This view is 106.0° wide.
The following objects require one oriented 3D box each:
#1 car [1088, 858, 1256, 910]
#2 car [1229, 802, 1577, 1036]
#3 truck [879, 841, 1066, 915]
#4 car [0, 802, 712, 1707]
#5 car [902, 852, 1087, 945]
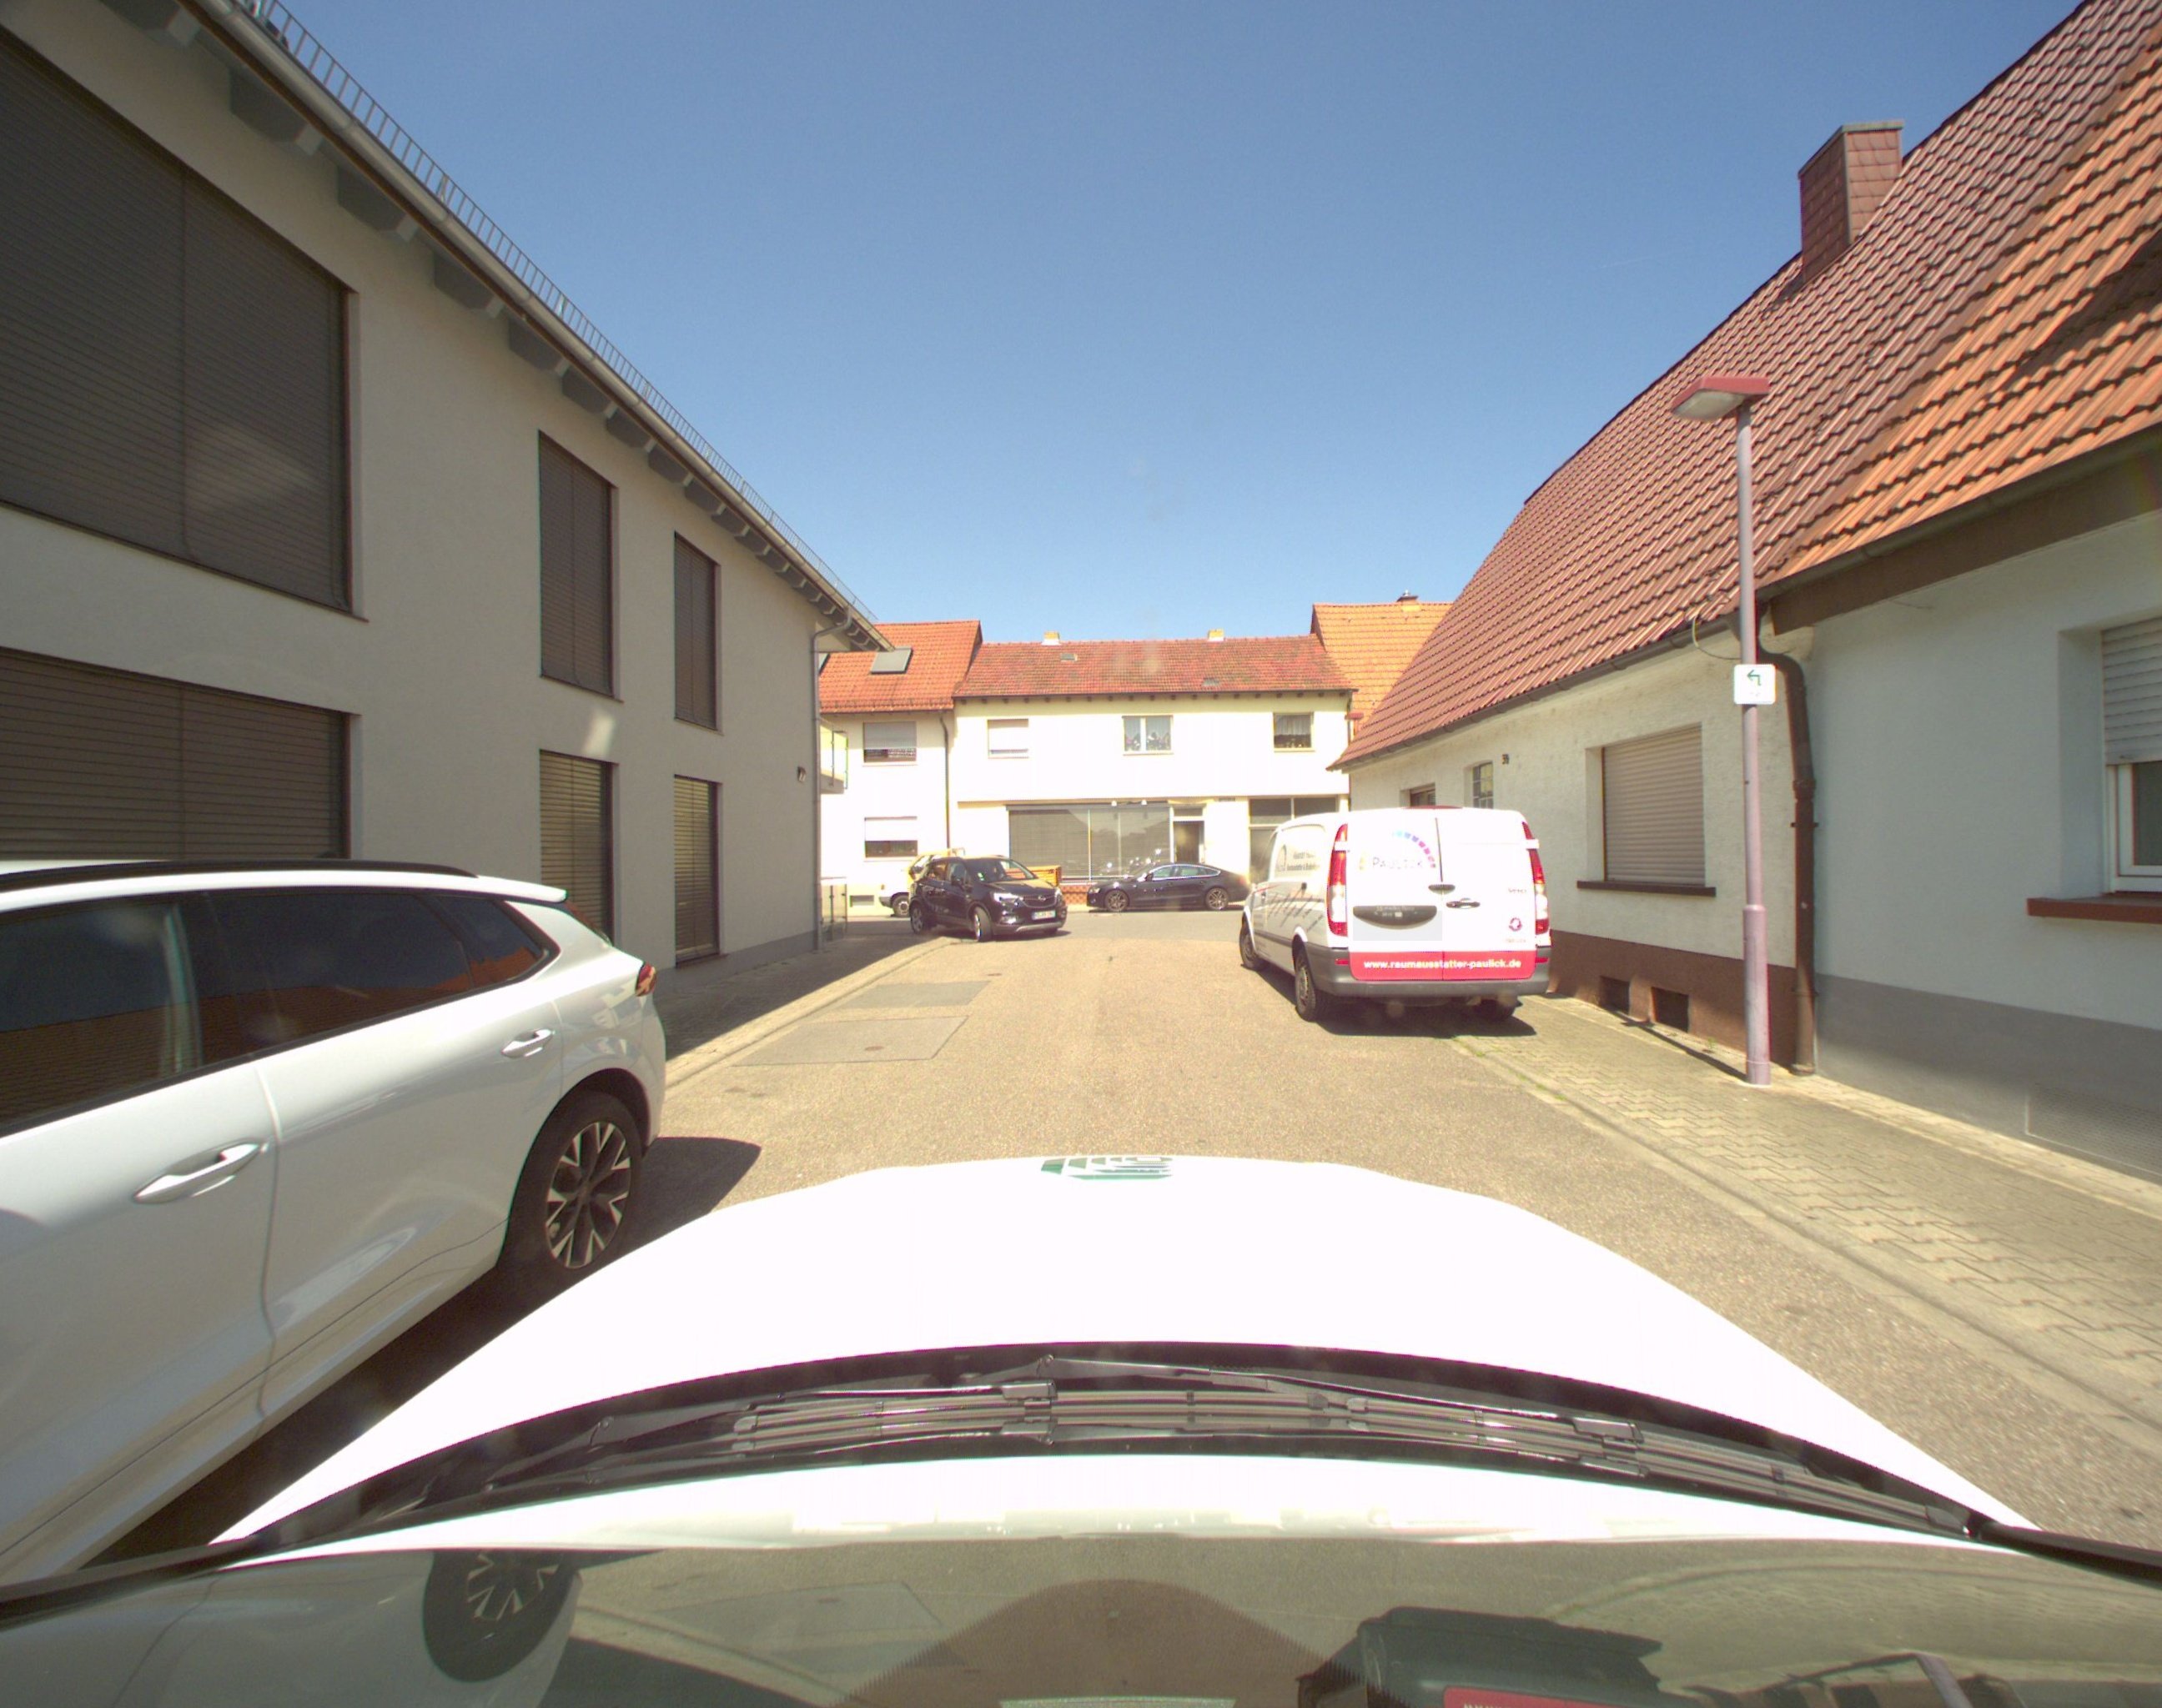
[{"bbox_3d":[2.528,0.876,23.441,4.600,1.394,1.928,-1,-3,0],"label":"car"},{"bbox_3d":[3.017,0.523,9.074,2.005,1.839,5.268,0,0,2],"label":"car"},{"bbox_3d":[-3.033,0.676,23.611,5.043,2.014,2.191,-1,-1,2],"label":"truck"},{"bbox_3d":[-2.633,0.752,1.609,1.768,1.615,4.348,-2,0,0],"label":"car"},{"bbox_3d":[-1.898,0.832,16.653,1.771,1.583,4.232,-2,0,-38],"label":"car"}]
